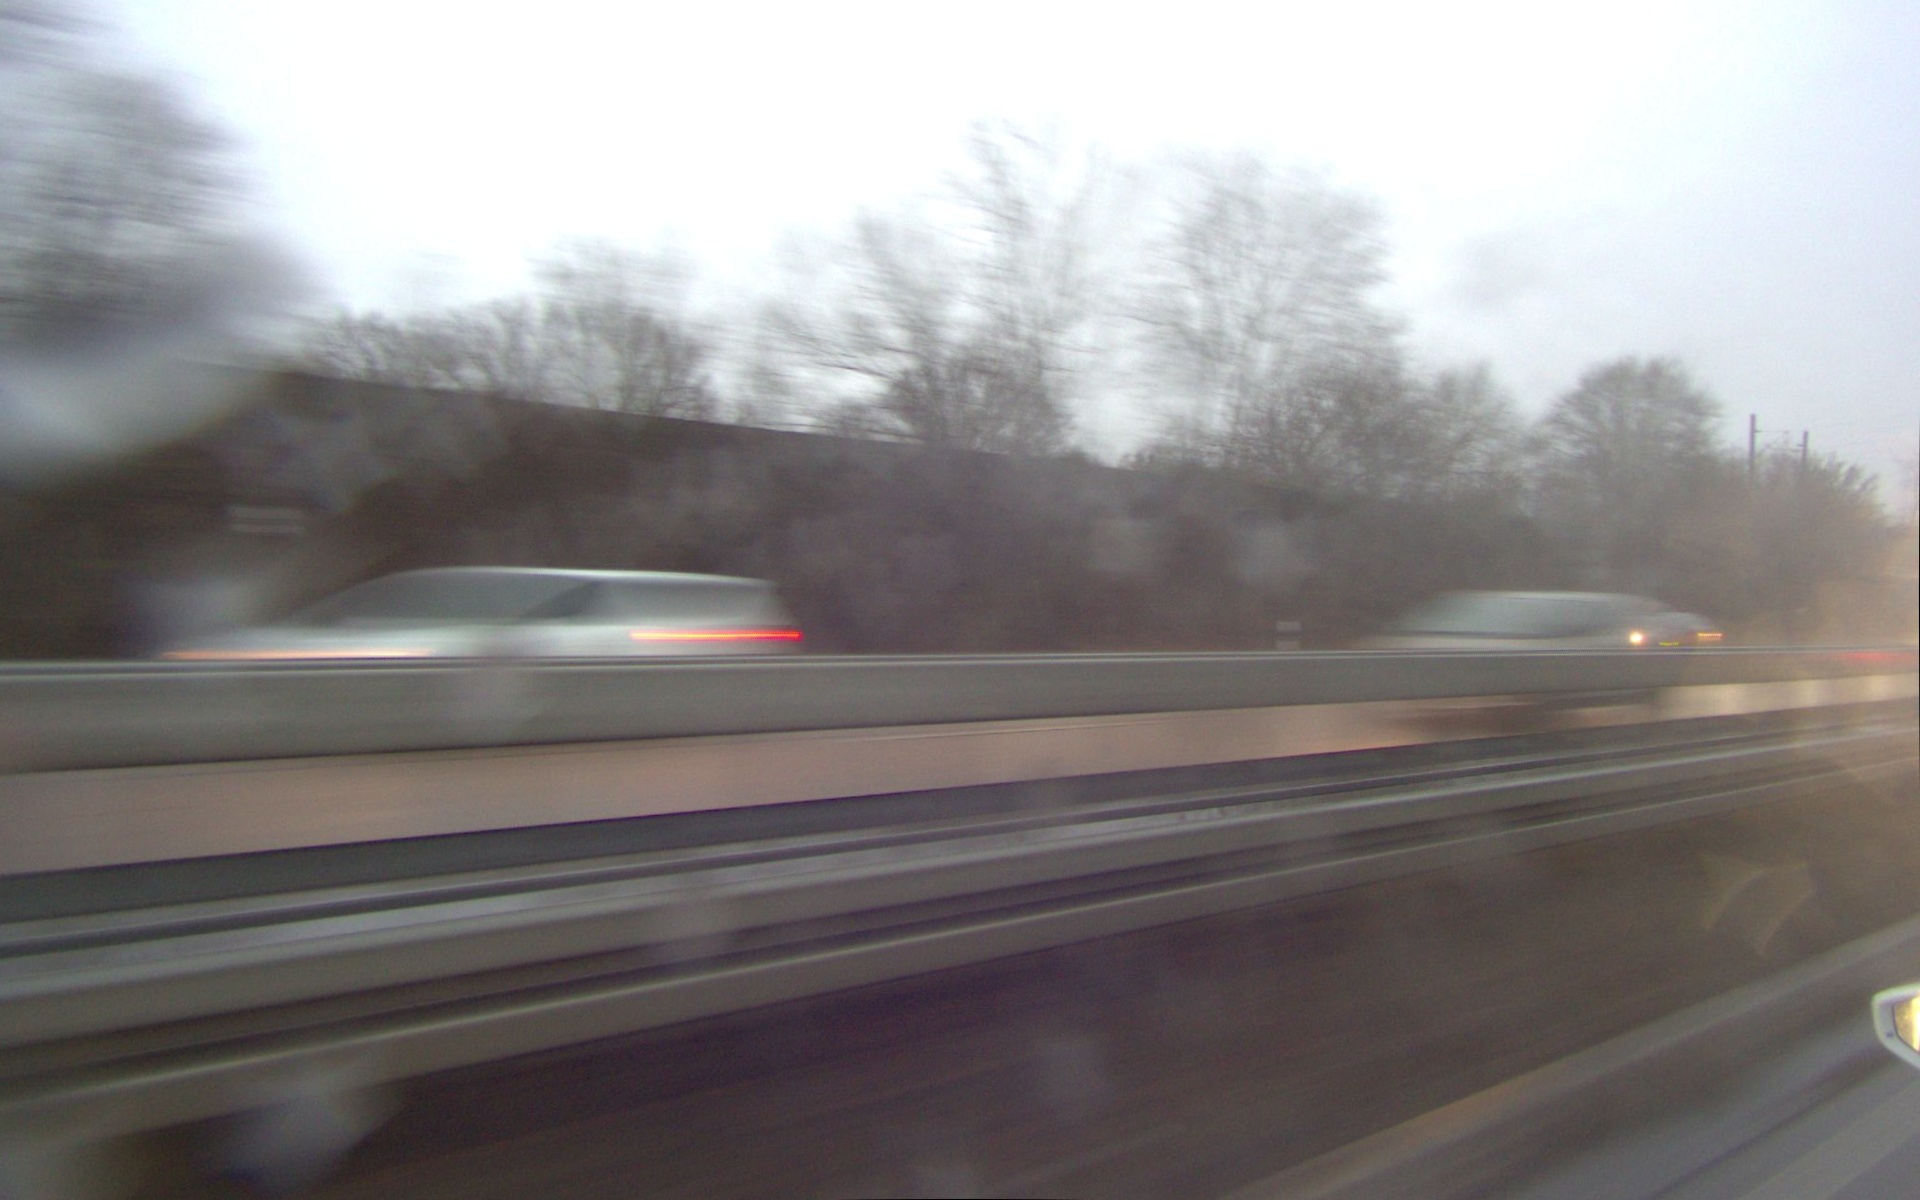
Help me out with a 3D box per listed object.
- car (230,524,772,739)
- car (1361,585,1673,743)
[{"bbox_3d":[-4.218,0.301,9.713,4.382,1.688,1.683,2,1,-31],"label":"car"},{"bbox_3d":[7.176,0.762,12.861,3.956,1.706,1.757,2,1,-32],"label":"car"}]
